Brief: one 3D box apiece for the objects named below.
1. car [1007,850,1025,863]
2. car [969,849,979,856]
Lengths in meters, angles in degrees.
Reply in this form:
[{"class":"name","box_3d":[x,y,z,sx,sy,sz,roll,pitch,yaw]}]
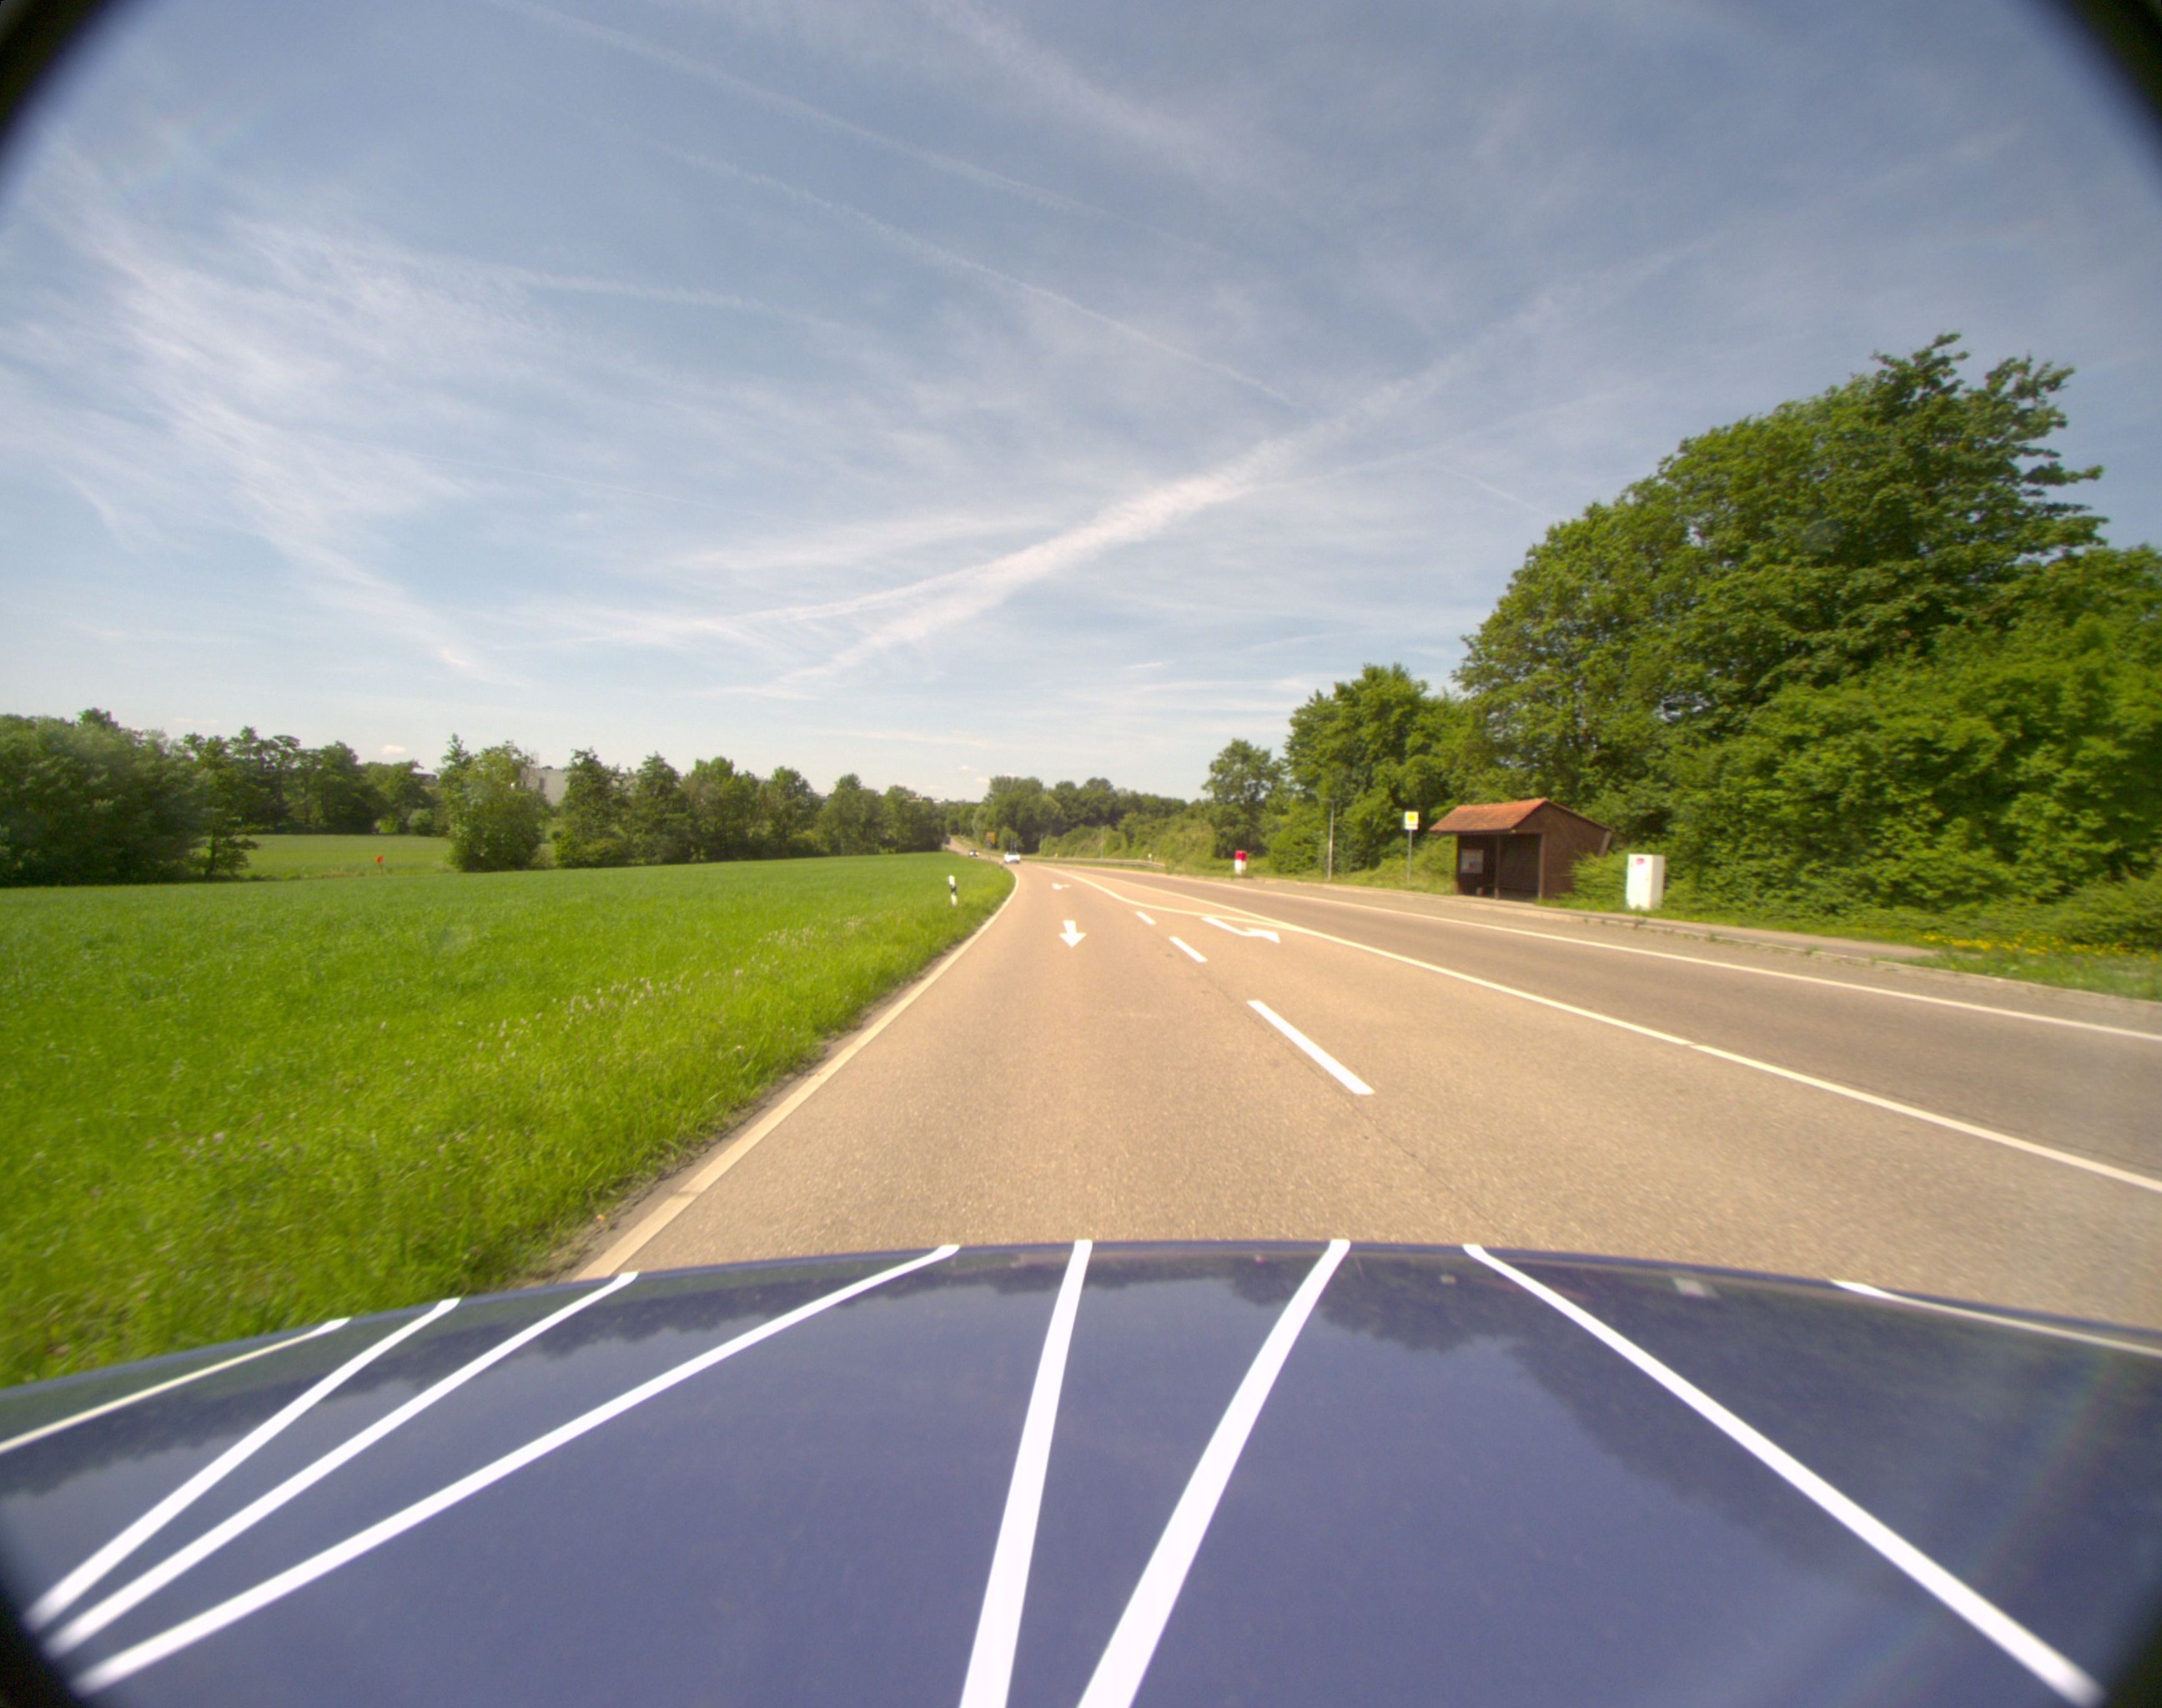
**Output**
[{"class":"car","box_3d":[-8.305,0.289,97.033,2.000,1.576,3.997,-1,1,-8]},{"class":"car","box_3d":[-22.878,-0.285,162.360,2.000,1.576,3.997,0,0,-8]}]
